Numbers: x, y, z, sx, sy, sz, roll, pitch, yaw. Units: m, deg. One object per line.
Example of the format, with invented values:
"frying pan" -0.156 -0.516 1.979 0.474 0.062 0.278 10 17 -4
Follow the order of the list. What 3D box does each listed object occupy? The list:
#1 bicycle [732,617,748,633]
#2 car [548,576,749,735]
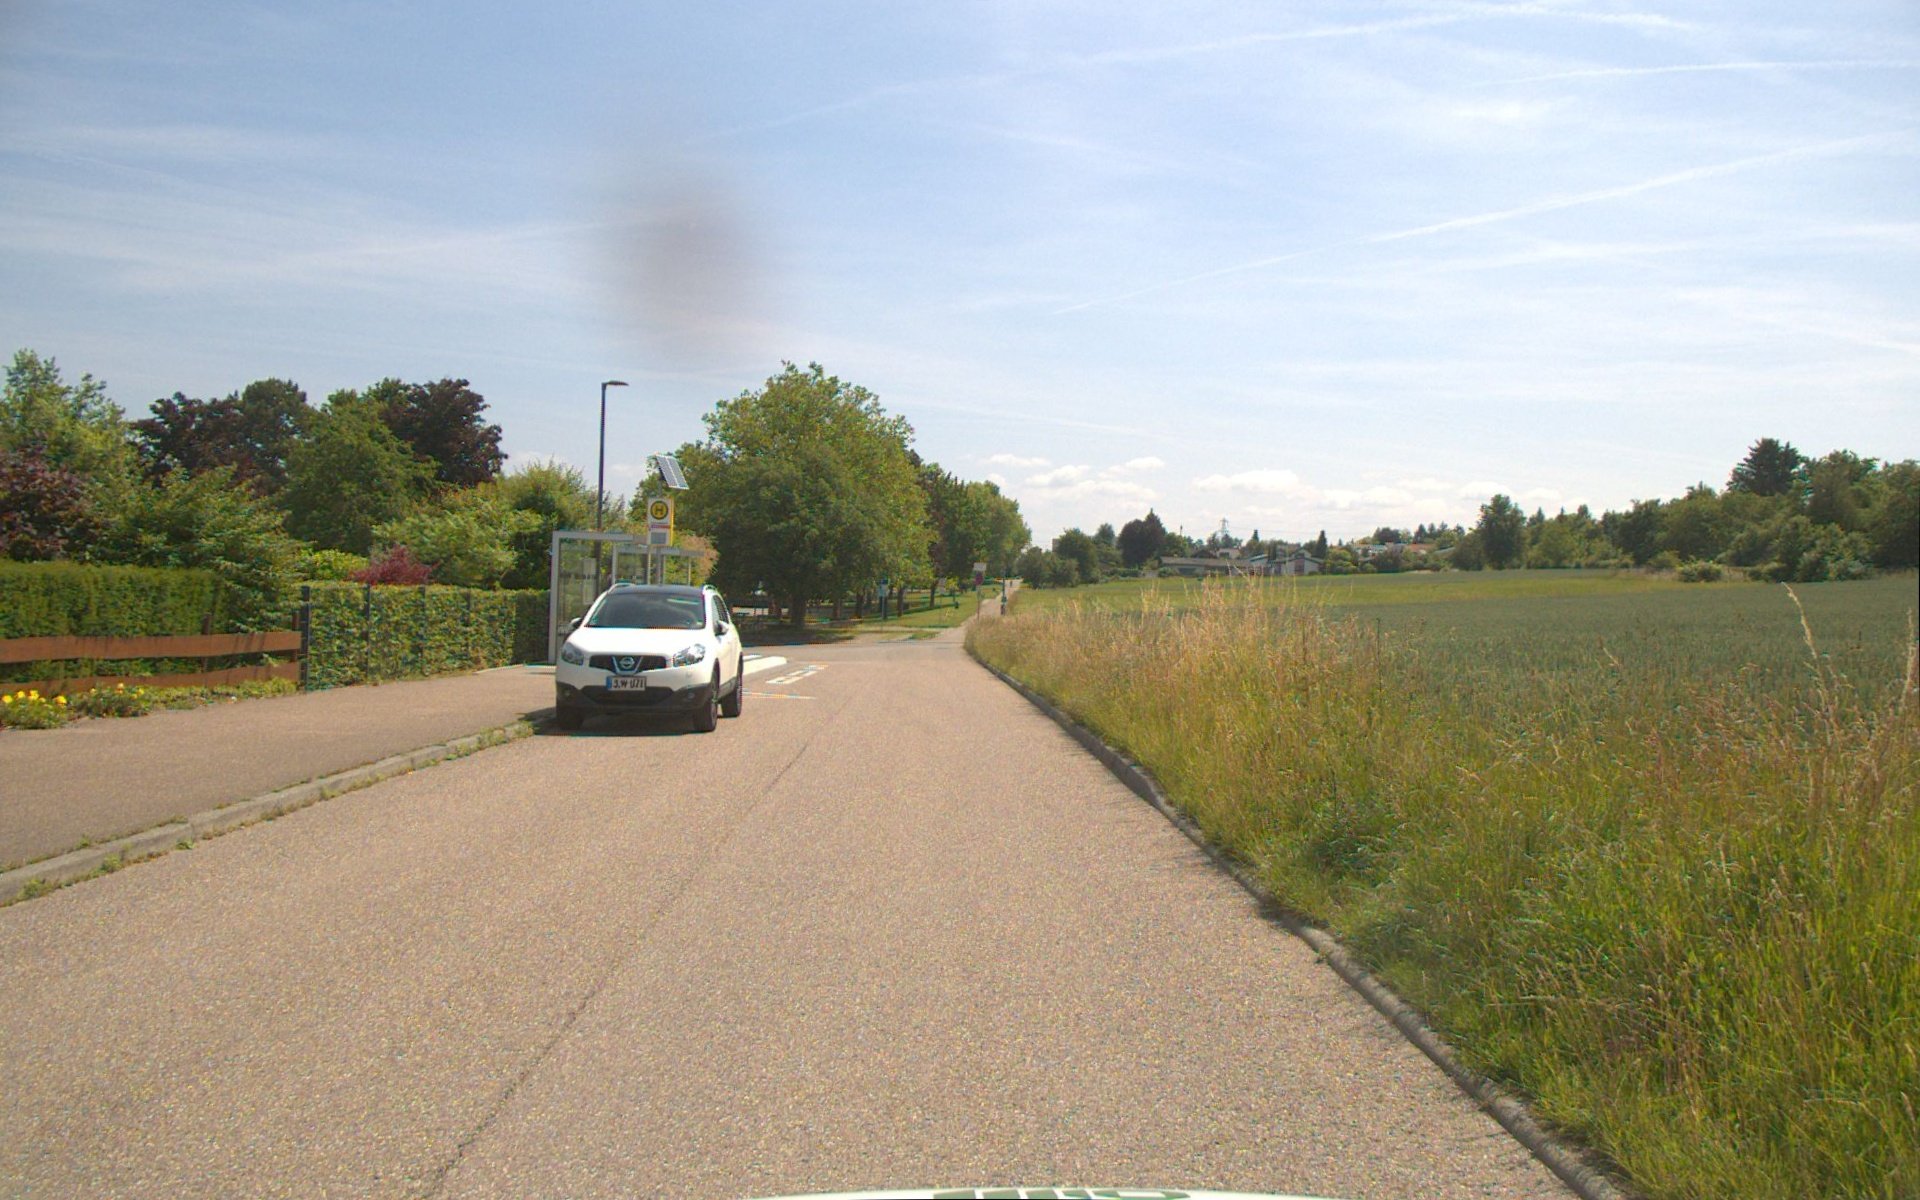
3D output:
"bicycle" -14.775 1.659 111.142 0.582 1.057 1.894 -1 0 9
"car" -3.590 0.610 19.783 1.699 1.662 4.350 1 -1 -2
